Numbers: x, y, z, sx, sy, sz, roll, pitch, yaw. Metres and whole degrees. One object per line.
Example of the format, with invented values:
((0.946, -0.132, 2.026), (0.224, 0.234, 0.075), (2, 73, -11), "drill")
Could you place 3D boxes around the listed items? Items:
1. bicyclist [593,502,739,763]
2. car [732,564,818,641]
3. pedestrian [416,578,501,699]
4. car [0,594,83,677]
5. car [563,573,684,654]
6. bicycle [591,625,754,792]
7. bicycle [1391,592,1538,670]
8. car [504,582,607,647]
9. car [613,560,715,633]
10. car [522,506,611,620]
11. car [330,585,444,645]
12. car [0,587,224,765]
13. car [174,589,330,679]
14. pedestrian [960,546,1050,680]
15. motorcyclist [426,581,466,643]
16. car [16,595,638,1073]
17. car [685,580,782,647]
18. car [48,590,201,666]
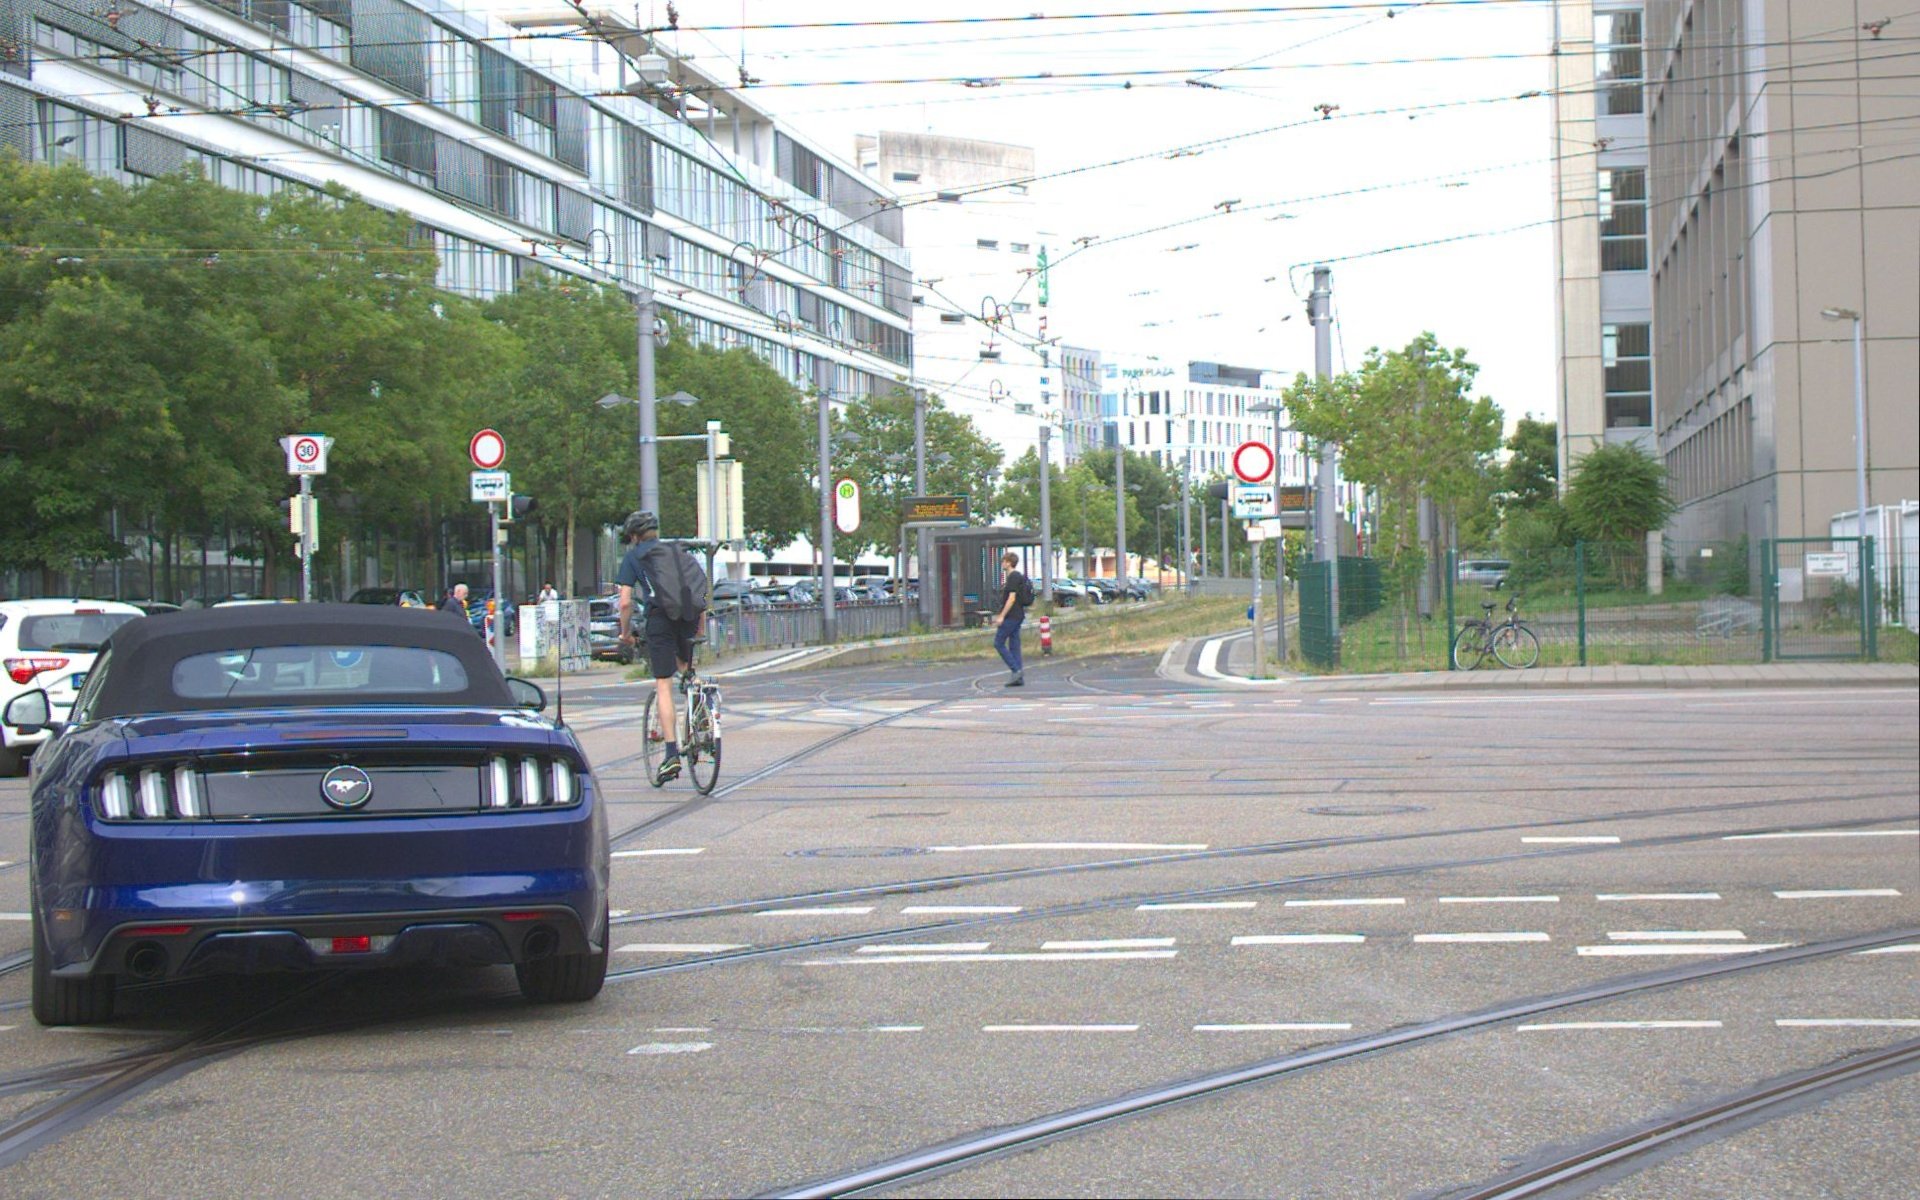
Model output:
((-2.090, 0.219, 24.294), (0.796, 1.779, 1.233), (-1, 0, -14), "bicyclist")
((-4.934, 0.050, 92.217), (1.785, 1.980, 4.120), (-2, 0, 4), "car")
((-7.809, 0.591, 53.537), (0.989, 1.849, 0.901), (-1, 0, 16), "pedestrian")
((-19.129, 0.685, 68.331), (1.830, 1.551, 4.215), (1, 1, 8), "car")
((-7.188, 0.267, 73.782), (1.879, 1.623, 4.086), (-2, 0, 4), "car")
((-2.047, 0.735, 24.201), (0.800, 1.083, 2.132), (-1, 0, -14), "bicycle")
((7.061, 0.442, 48.209), (0.632, 0.977, 2.158), (-2, -2, -38), "bicycle")
((-10.756, 0.372, 91.632), (1.715, 1.654, 4.132), (1, 1, 8), "car")
((-6.828, -0.098, 79.625), (1.705, 1.600, 4.078), (-2, 0, 4), "car")
((-12.844, -1.203, 112.501), (1.986, 3.624, 4.511), (1, 1, 5), "car")
((-15.578, 0.383, 93.646), (1.986, 1.551, 4.511), (1, 1, 5), "car")
((-8.204, 0.650, 30.772), (1.835, 1.434, 4.187), (-2, 0, -31), "car")
((-13.934, 0.642, 67.846), (1.715, 1.654, 4.132), (1, 1, 8), "car")
((0.657, 0.180, 49.588), (1.086, 1.892, 0.901), (-1, 0, 13), "pedestrian")
((-13.486, 0.318, 90.277), (0.819, 1.611, 0.882), (0, 0, 8), "motorcyclist")
((-2.470, 0.695, 12.578), (1.875, 1.399, 4.283), (0, 0, -15), "car")
((-5.731, 0.328, 87.301), (1.868, 1.600, 4.212), (-2, 0, 4), "car")
((-18.332, 0.592, 75.623), (1.830, 1.551, 4.215), (1, 1, 8), "car")
